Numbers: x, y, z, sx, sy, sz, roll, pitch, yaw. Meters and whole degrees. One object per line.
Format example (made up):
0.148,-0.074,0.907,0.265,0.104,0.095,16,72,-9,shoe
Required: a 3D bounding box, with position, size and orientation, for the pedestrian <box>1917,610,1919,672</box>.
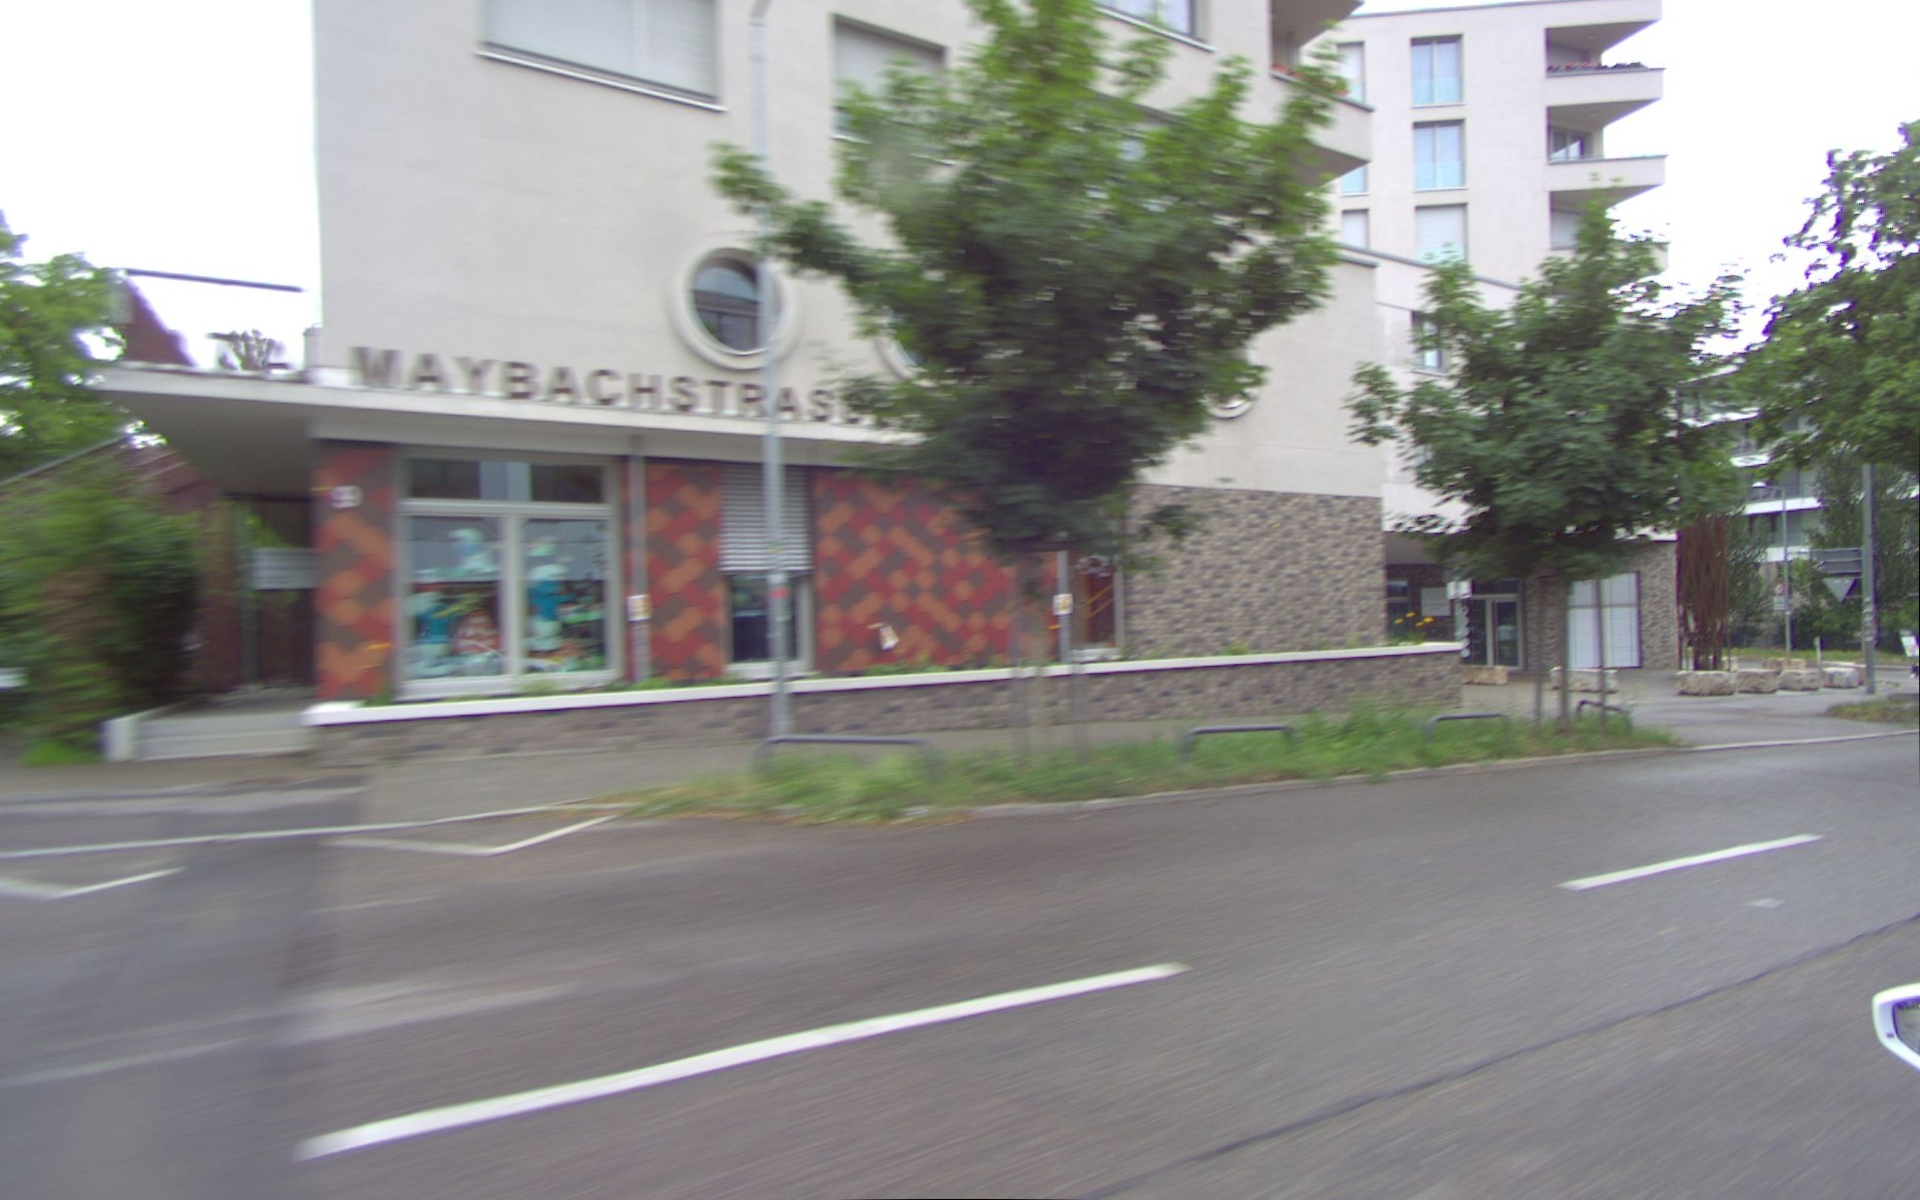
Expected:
32.274,1.367,33.026,1.090,2.040,1.047,2,-1,-39,pedestrian
